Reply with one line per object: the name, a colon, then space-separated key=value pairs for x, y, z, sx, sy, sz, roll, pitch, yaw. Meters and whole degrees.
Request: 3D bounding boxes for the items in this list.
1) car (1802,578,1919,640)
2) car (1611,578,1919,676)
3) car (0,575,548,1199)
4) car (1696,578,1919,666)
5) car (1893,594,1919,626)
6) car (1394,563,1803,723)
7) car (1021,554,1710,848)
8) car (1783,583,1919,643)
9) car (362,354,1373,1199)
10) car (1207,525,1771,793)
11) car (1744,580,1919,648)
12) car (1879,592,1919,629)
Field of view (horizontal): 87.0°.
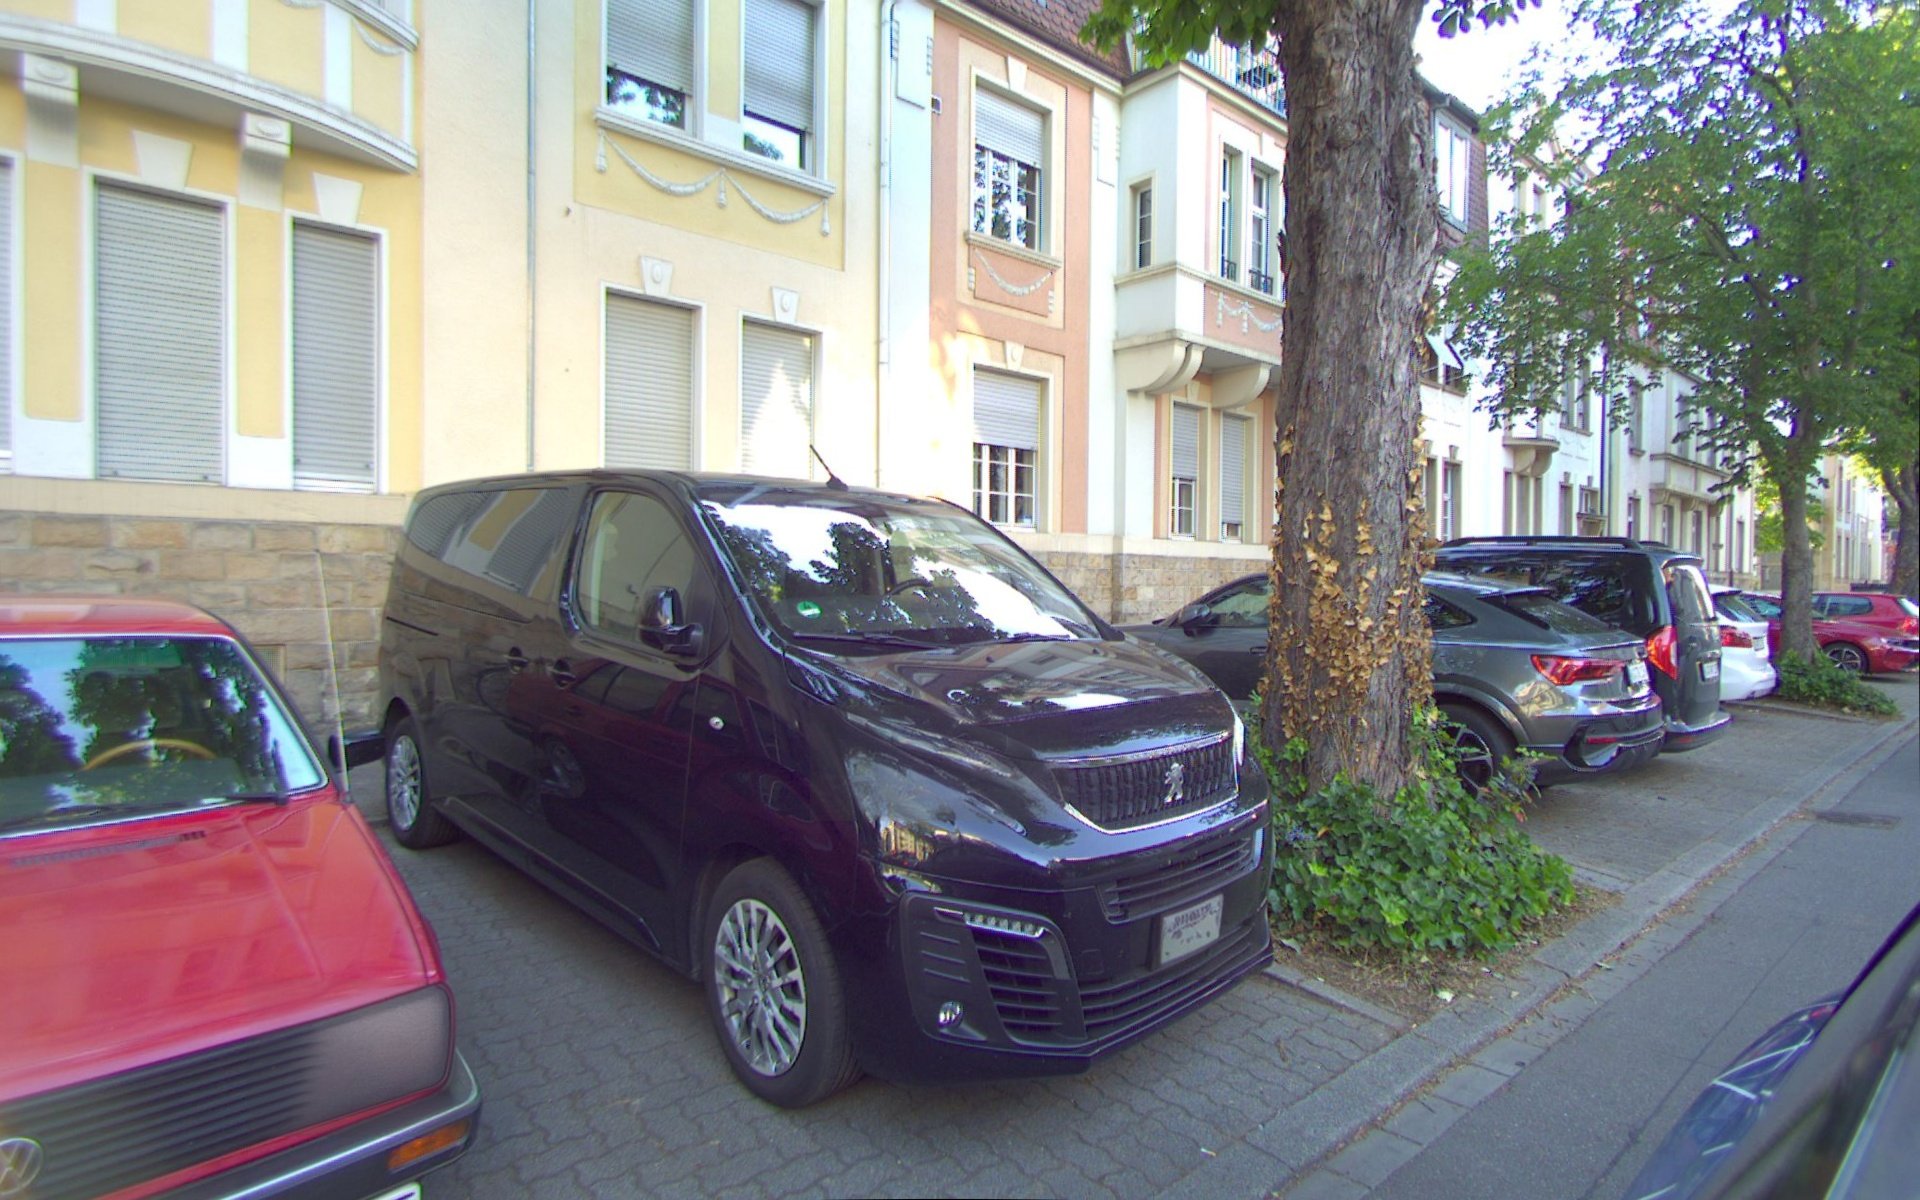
car: x=25.873 y=0.239 z=28.027 sx=1.548 sy=1.576 sz=3.681 roll=0 pitch=2 yaw=-39
car: x=14.787 y=0.390 z=18.458 sx=1.833 sy=1.470 sz=4.533 roll=0 pitch=3 yaw=-38
car: x=-2.873 y=0.636 z=3.031 sx=1.603 sy=1.332 sz=4.139 roll=-1 pitch=3 yaw=-44
car: x=16.897 y=0.360 z=19.813 sx=1.628 sy=1.499 sz=3.682 roll=0 pitch=2 yaw=-38
car: x=34.279 y=0.385 z=34.524 sx=1.515 sy=1.076 sz=3.399 roll=0 pitch=3 yaw=-39
car: x=7.704 y=0.384 z=12.520 sx=1.689 sy=1.597 sz=3.948 roll=0 pitch=3 yaw=-41
car: x=2.745 y=0.461 z=7.697 sx=1.815 sy=1.542 sz=4.513 roll=-1 pitch=3 yaw=-44
car: x=24.007 y=0.327 z=26.406 sx=1.548 sy=1.416 sz=3.681 roll=0 pitch=3 yaw=-39
car: x=-0.938 y=0.333 z=4.471 sx=1.867 sy=1.897 sz=4.753 roll=-1 pitch=3 yaw=-44
car: x=4.519 y=0.315 z=9.141 sx=1.814 sy=1.860 sz=4.116 roll=0 pitch=3 yaw=-42
car: x=21.855 y=0.305 z=24.968 sx=1.548 sy=1.484 sz=3.681 roll=0 pitch=3 yaw=-39
car: x=31.898 y=0.386 z=32.461 sx=1.515 sy=1.164 sz=3.399 roll=0 pitch=3 yaw=-39
